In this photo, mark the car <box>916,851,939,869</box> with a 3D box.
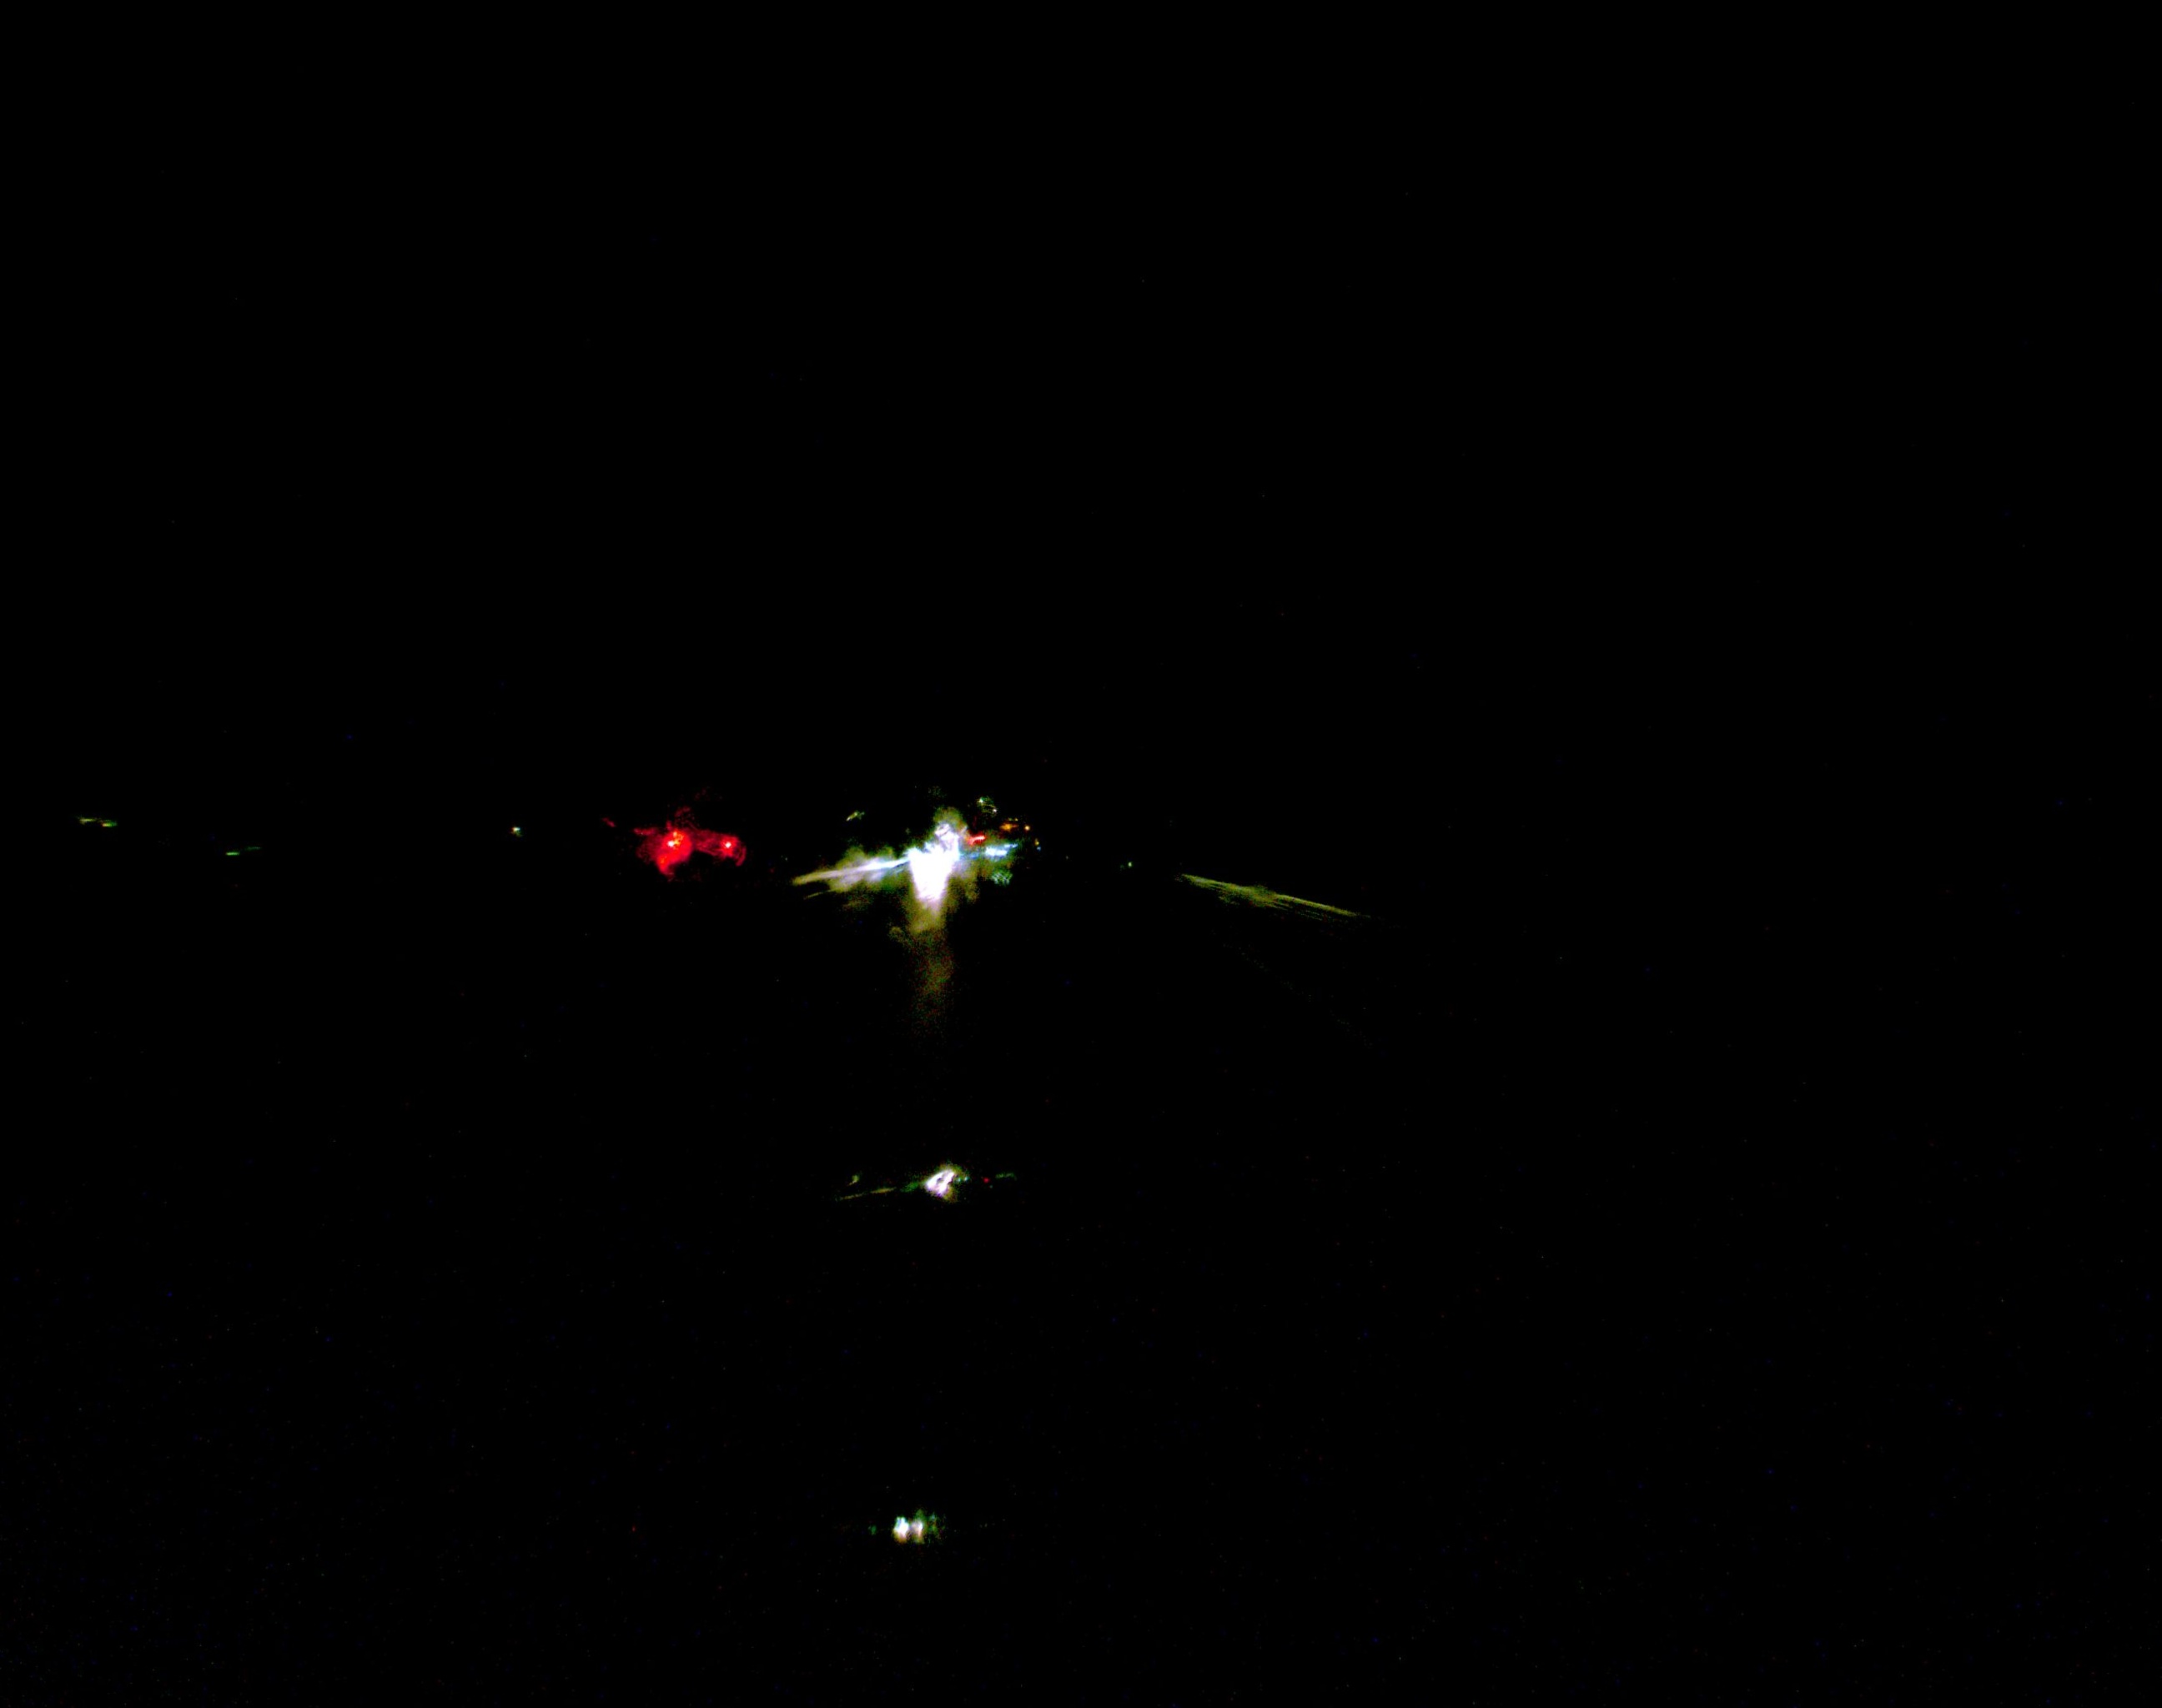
[{"bbox_3d":[-14.071,0.541,74.830,1.880,1.600,3.889,0,0,-8],"label":"car"}]
